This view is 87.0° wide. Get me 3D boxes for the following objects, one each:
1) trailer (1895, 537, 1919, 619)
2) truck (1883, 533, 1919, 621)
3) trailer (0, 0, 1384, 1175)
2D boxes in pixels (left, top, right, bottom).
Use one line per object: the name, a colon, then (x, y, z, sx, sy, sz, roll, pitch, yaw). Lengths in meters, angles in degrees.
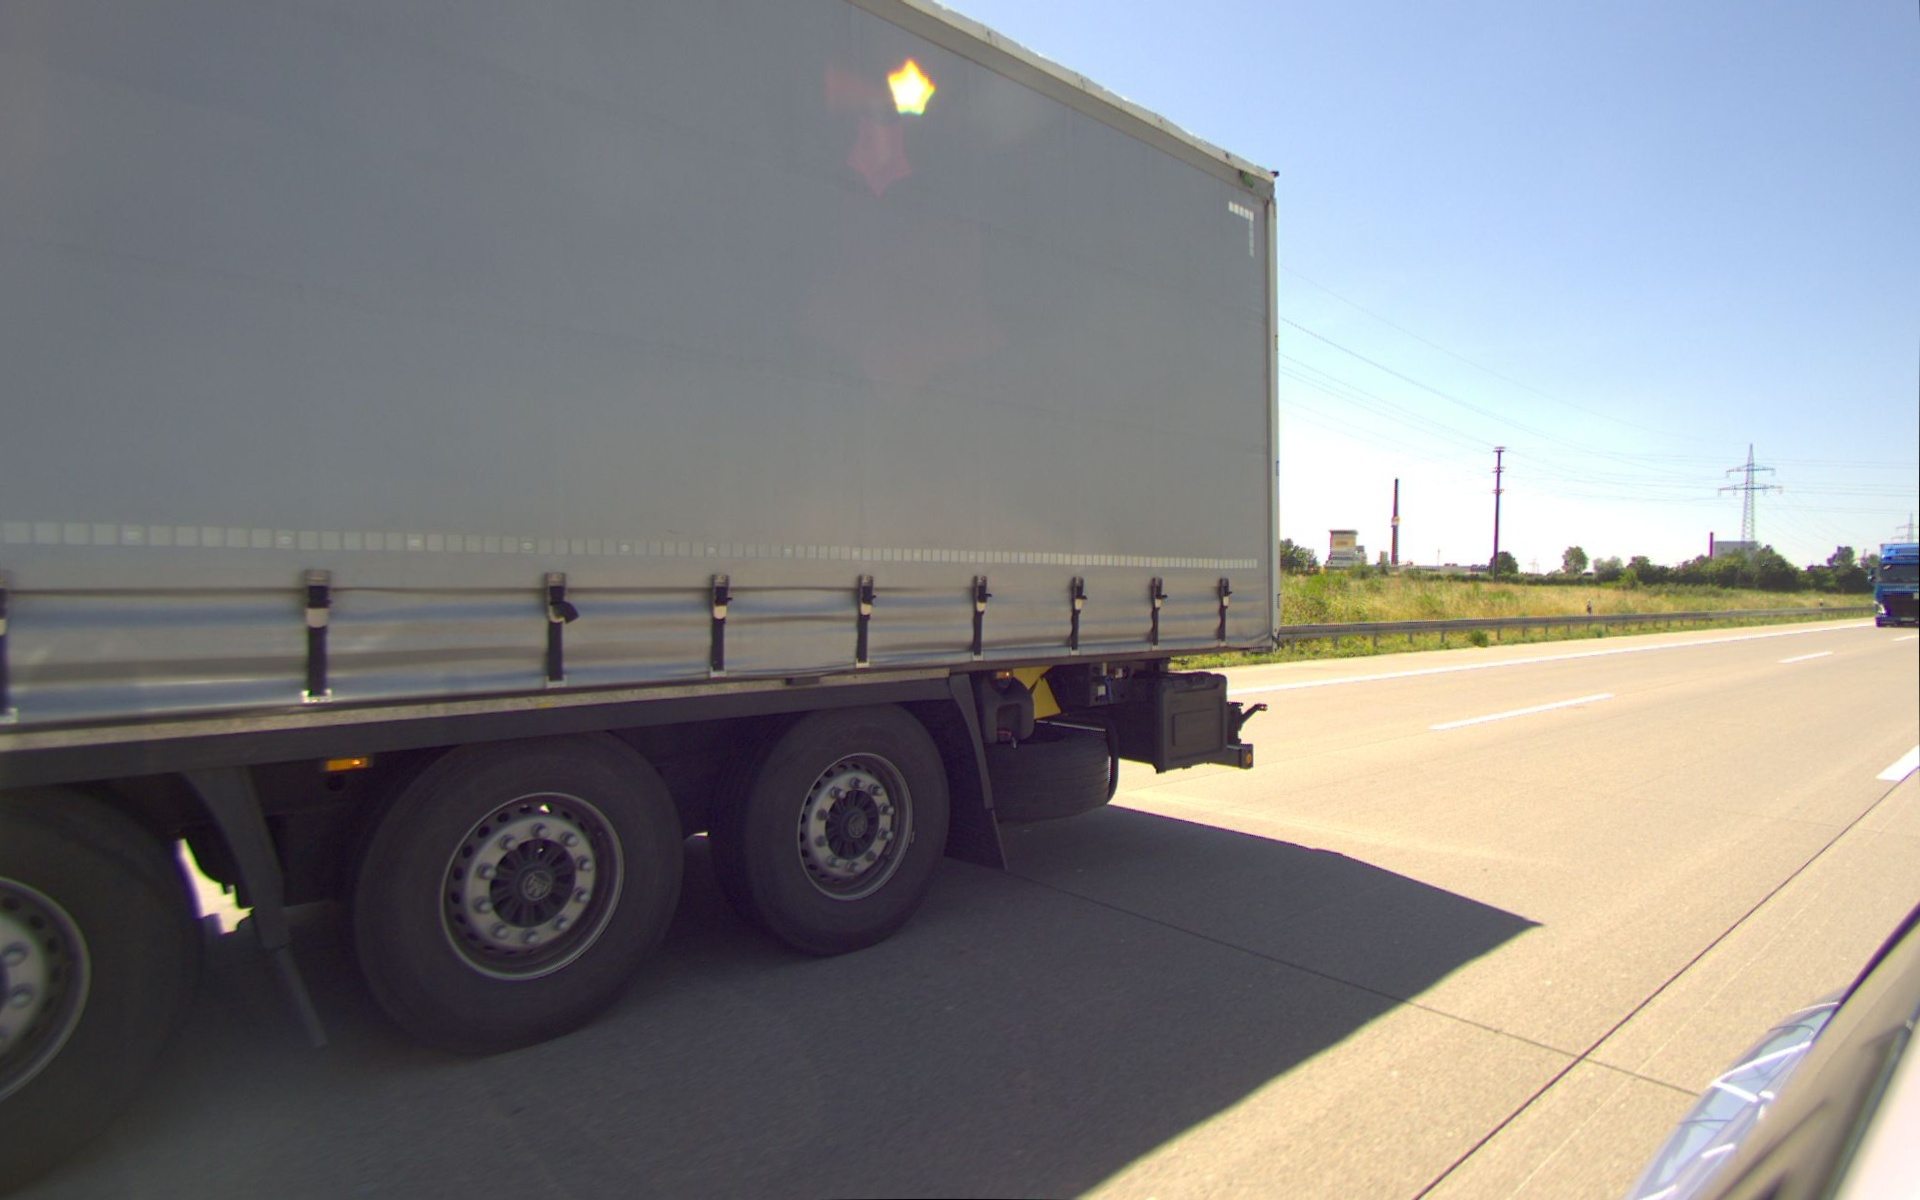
trailer: (52.692, -1.136, 53.925, 12.674, 4.095, 2.714, 0, 0, -40)
truck: (47.035, -1.091, 49.052, 5.369, 4.095, 2.755, 0, 0, -40)
trailer: (-3.433, -0.793, 3.088, 13.962, 4.112, 3.022, 0, 0, -42)
